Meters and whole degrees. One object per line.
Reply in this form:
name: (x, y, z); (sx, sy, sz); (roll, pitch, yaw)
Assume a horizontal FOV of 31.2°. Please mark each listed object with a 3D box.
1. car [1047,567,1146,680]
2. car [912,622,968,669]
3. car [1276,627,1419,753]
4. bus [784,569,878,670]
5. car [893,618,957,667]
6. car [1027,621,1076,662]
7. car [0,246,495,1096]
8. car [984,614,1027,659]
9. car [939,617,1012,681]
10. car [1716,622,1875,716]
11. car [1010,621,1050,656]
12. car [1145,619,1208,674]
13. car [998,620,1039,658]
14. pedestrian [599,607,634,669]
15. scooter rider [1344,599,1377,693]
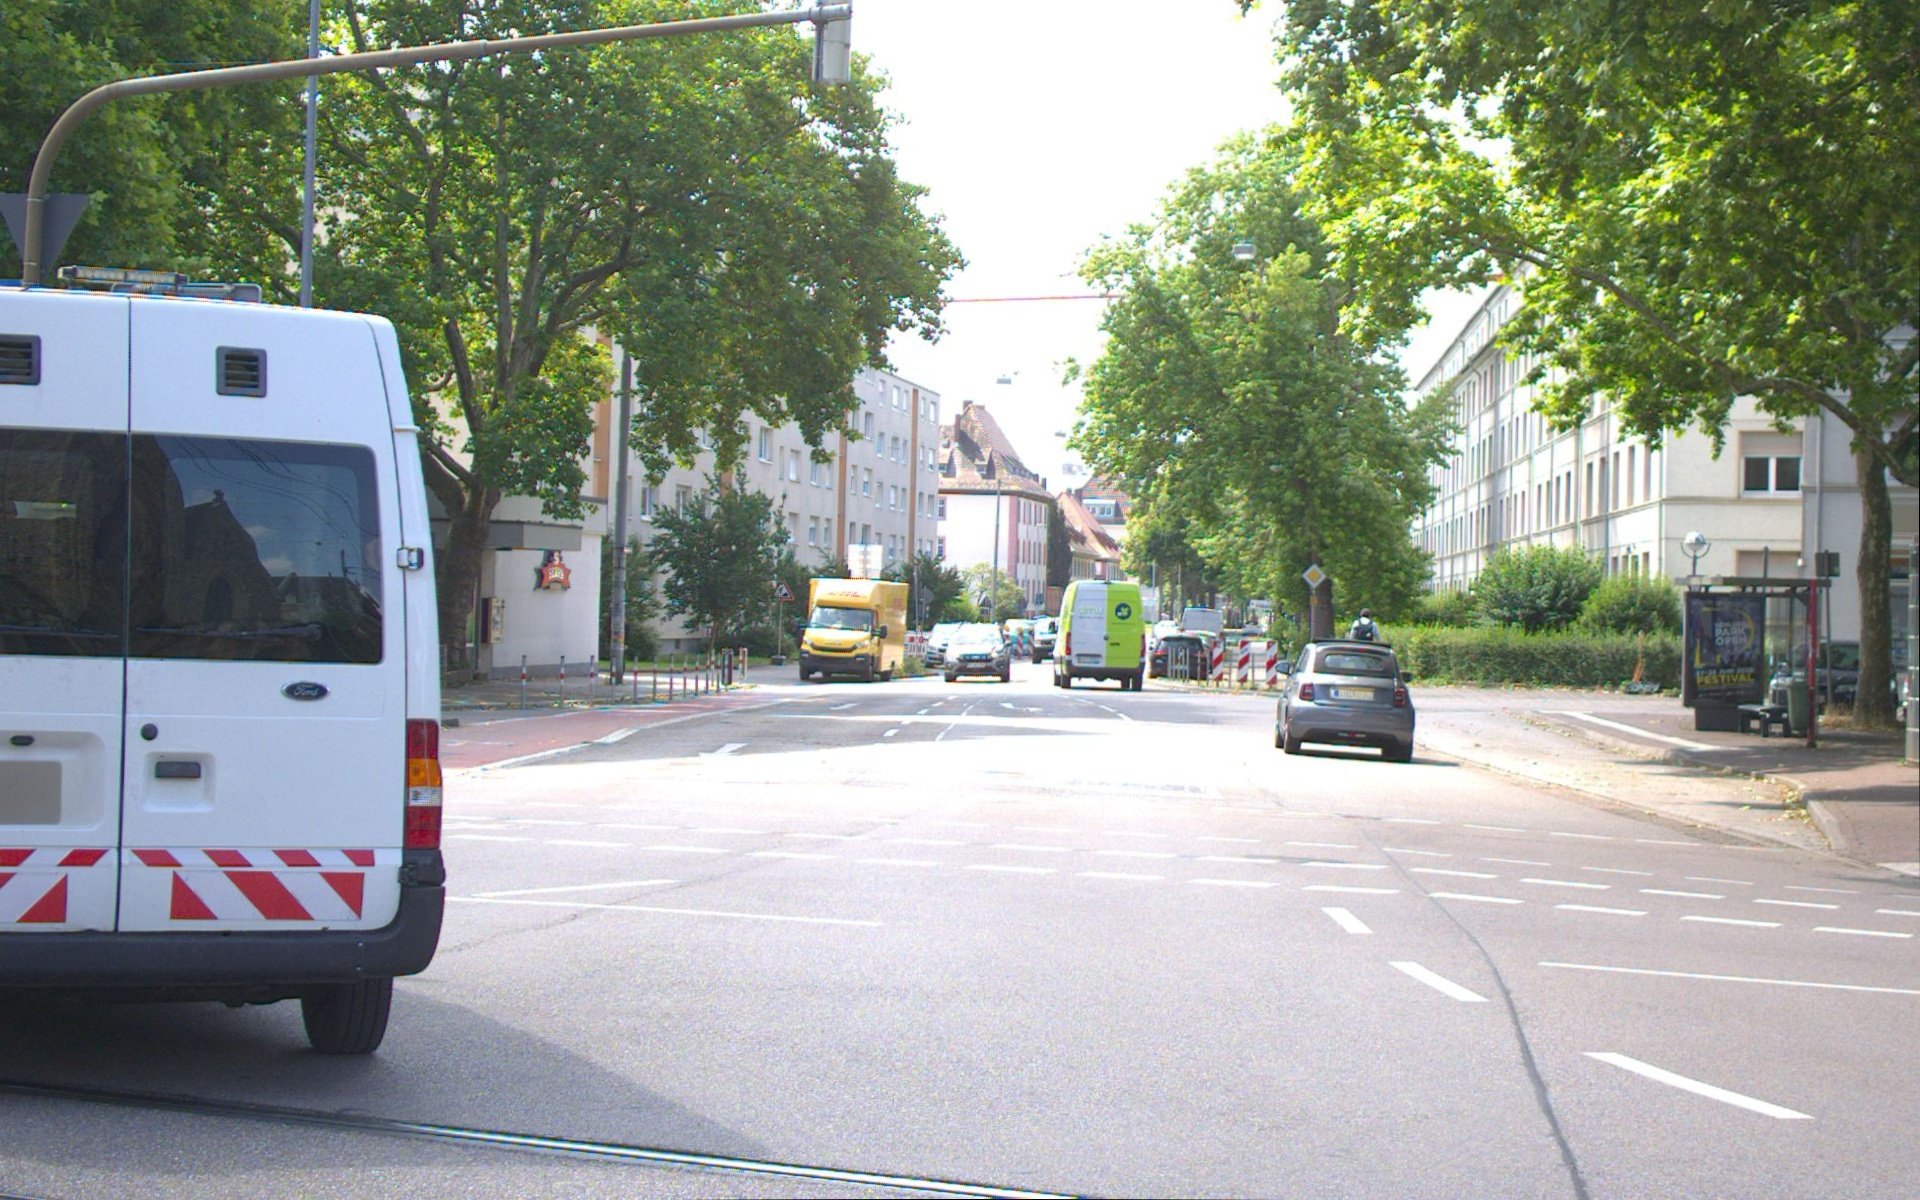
car: (3.328, 0.547, 85.187); (2.119, 2.632, 6.328); (1, 0, 0)
car: (-0.733, 1.683, 128.203); (1.729, 1.655, 3.748); (1, 0, 5)
car: (5.167, 1.174, 46.185); (1.692, 1.532, 3.468); (1, 1, 3)
bus: (-3.609, 0.556, 97.280); (2.394, 2.700, 6.370); (1, 0, 0)
car: (-1.158, 1.404, 114.640); (1.846, 1.557, 3.999); (1, 0, 3)
car: (3.931, 1.770, 146.654); (1.862, 1.655, 3.748); (1, 0, 5)
car: (-3.228, 0.178, 11.704); (2.046, 2.325, 4.715); (1, 0, -23)
car: (2.051, 1.621, 153.801); (1.652, 1.925, 3.748); (1, 0, 5)
car: (0.456, 1.339, 95.719); (1.786, 1.655, 4.315); (1, 0, 3)
car: (15.130, 1.235, 62.120); (2.030, 1.595, 4.533); (1, 0, 23)
car: (3.432, 1.882, 168.712); (1.701, 1.655, 3.748); (1, 0, 5)
car: (6.437, 1.373, 102.493); (1.725, 1.549, 3.633); (1, 0, 2)
car: (2.744, 1.823, 161.708); (1.660, 1.655, 3.748); (1, 0, 5)
pedestrian: (-8.325, 0.932, 83.398); (0.669, 1.474, 0.575); (2, 0, 9)
scooter rider: (7.821, 0.899, 67.135); (0.526, 1.806, 0.649); (1, 0, 1)
